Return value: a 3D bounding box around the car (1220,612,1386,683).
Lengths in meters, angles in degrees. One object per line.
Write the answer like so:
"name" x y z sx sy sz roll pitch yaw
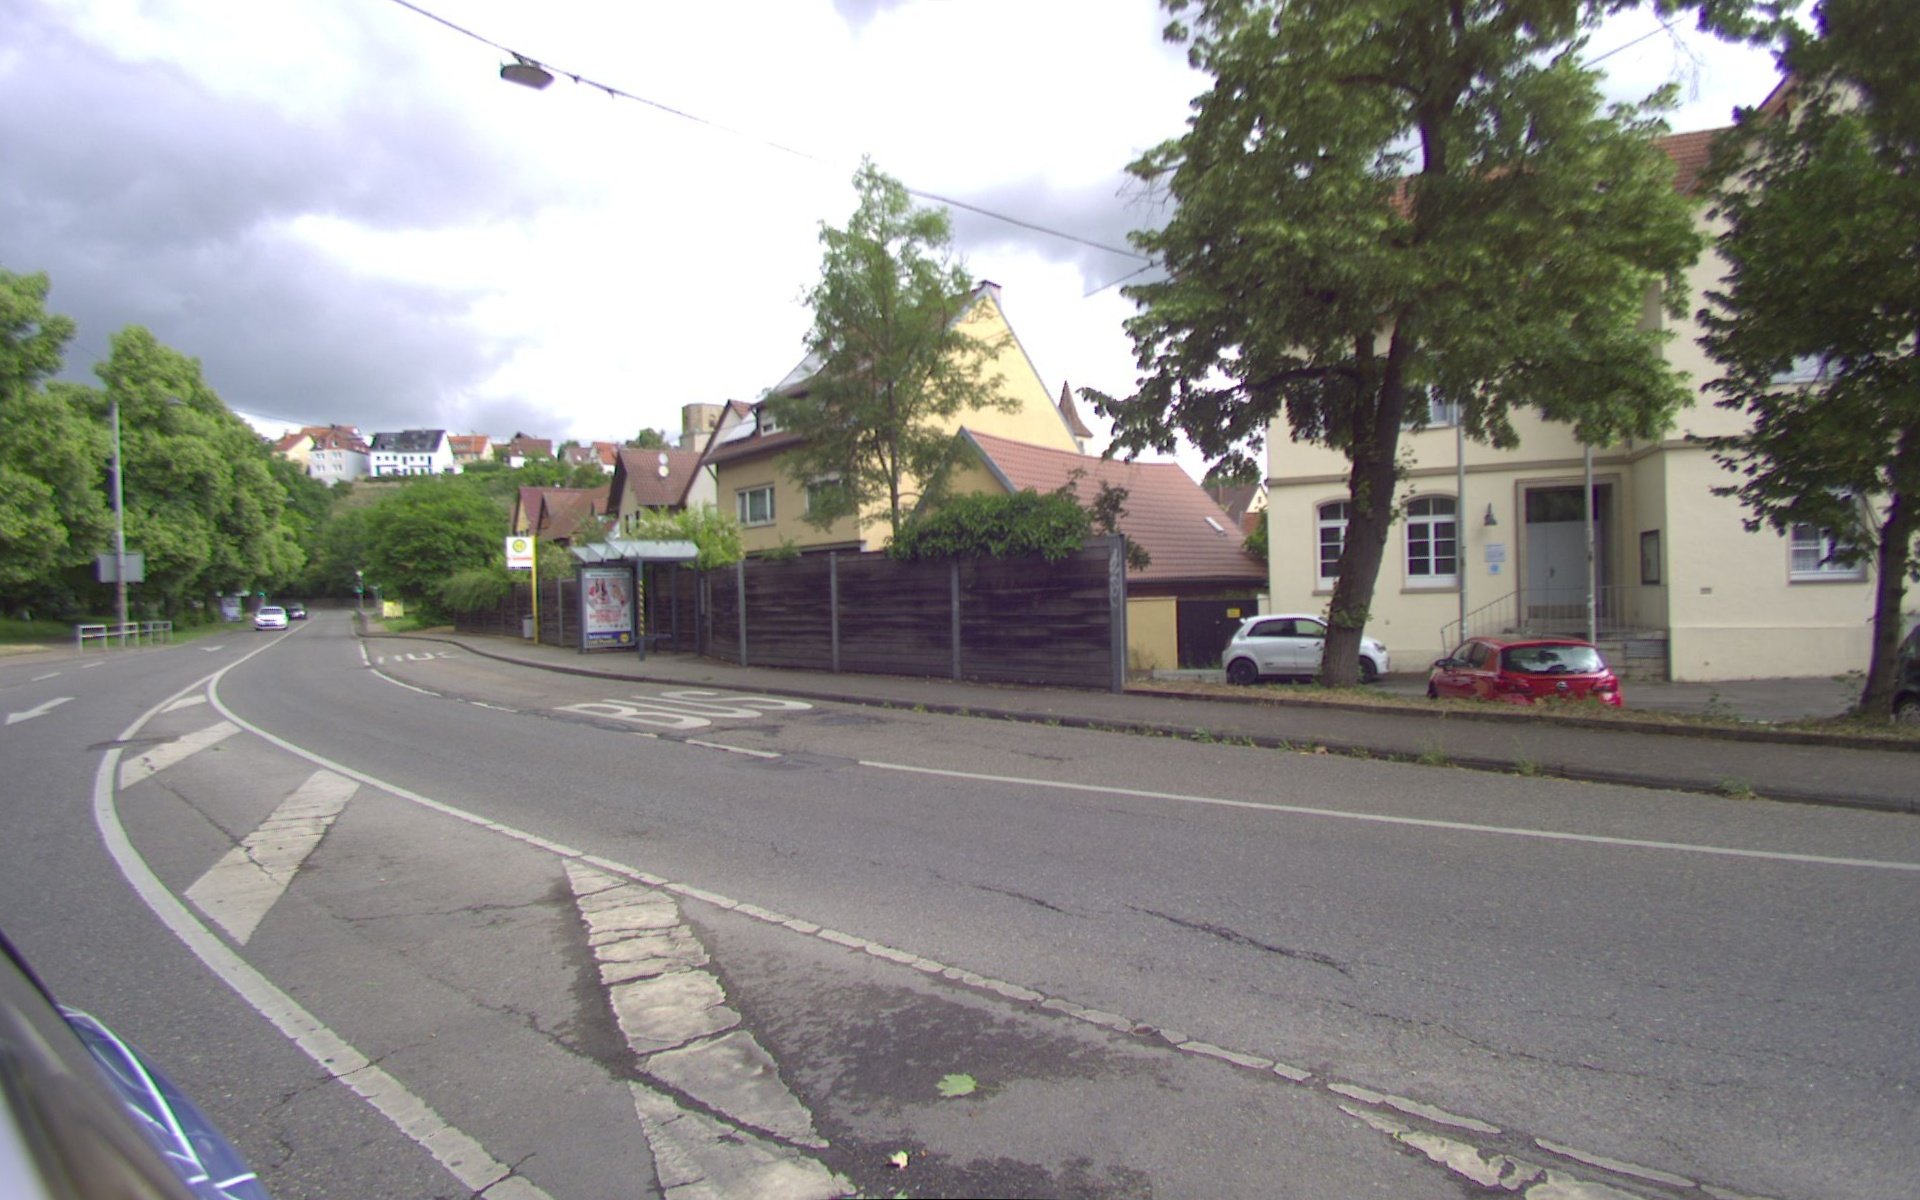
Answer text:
"car" 7.724 1.048 22.894 3.411 1.490 1.600 -1 0 21

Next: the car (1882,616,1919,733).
"car" 12.637 0.927 11.312 1.626 1.450 3.567 -1 0 7

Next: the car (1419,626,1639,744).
"car" 8.159 1.139 14.883 1.644 1.393 3.708 -1 0 10

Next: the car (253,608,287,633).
"car" -43.968 1.272 64.440 1.736 1.536 3.692 -1 0 -35

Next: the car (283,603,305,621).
"car" -63.019 1.144 95.796 1.735 1.596 3.693 -1 0 -33
